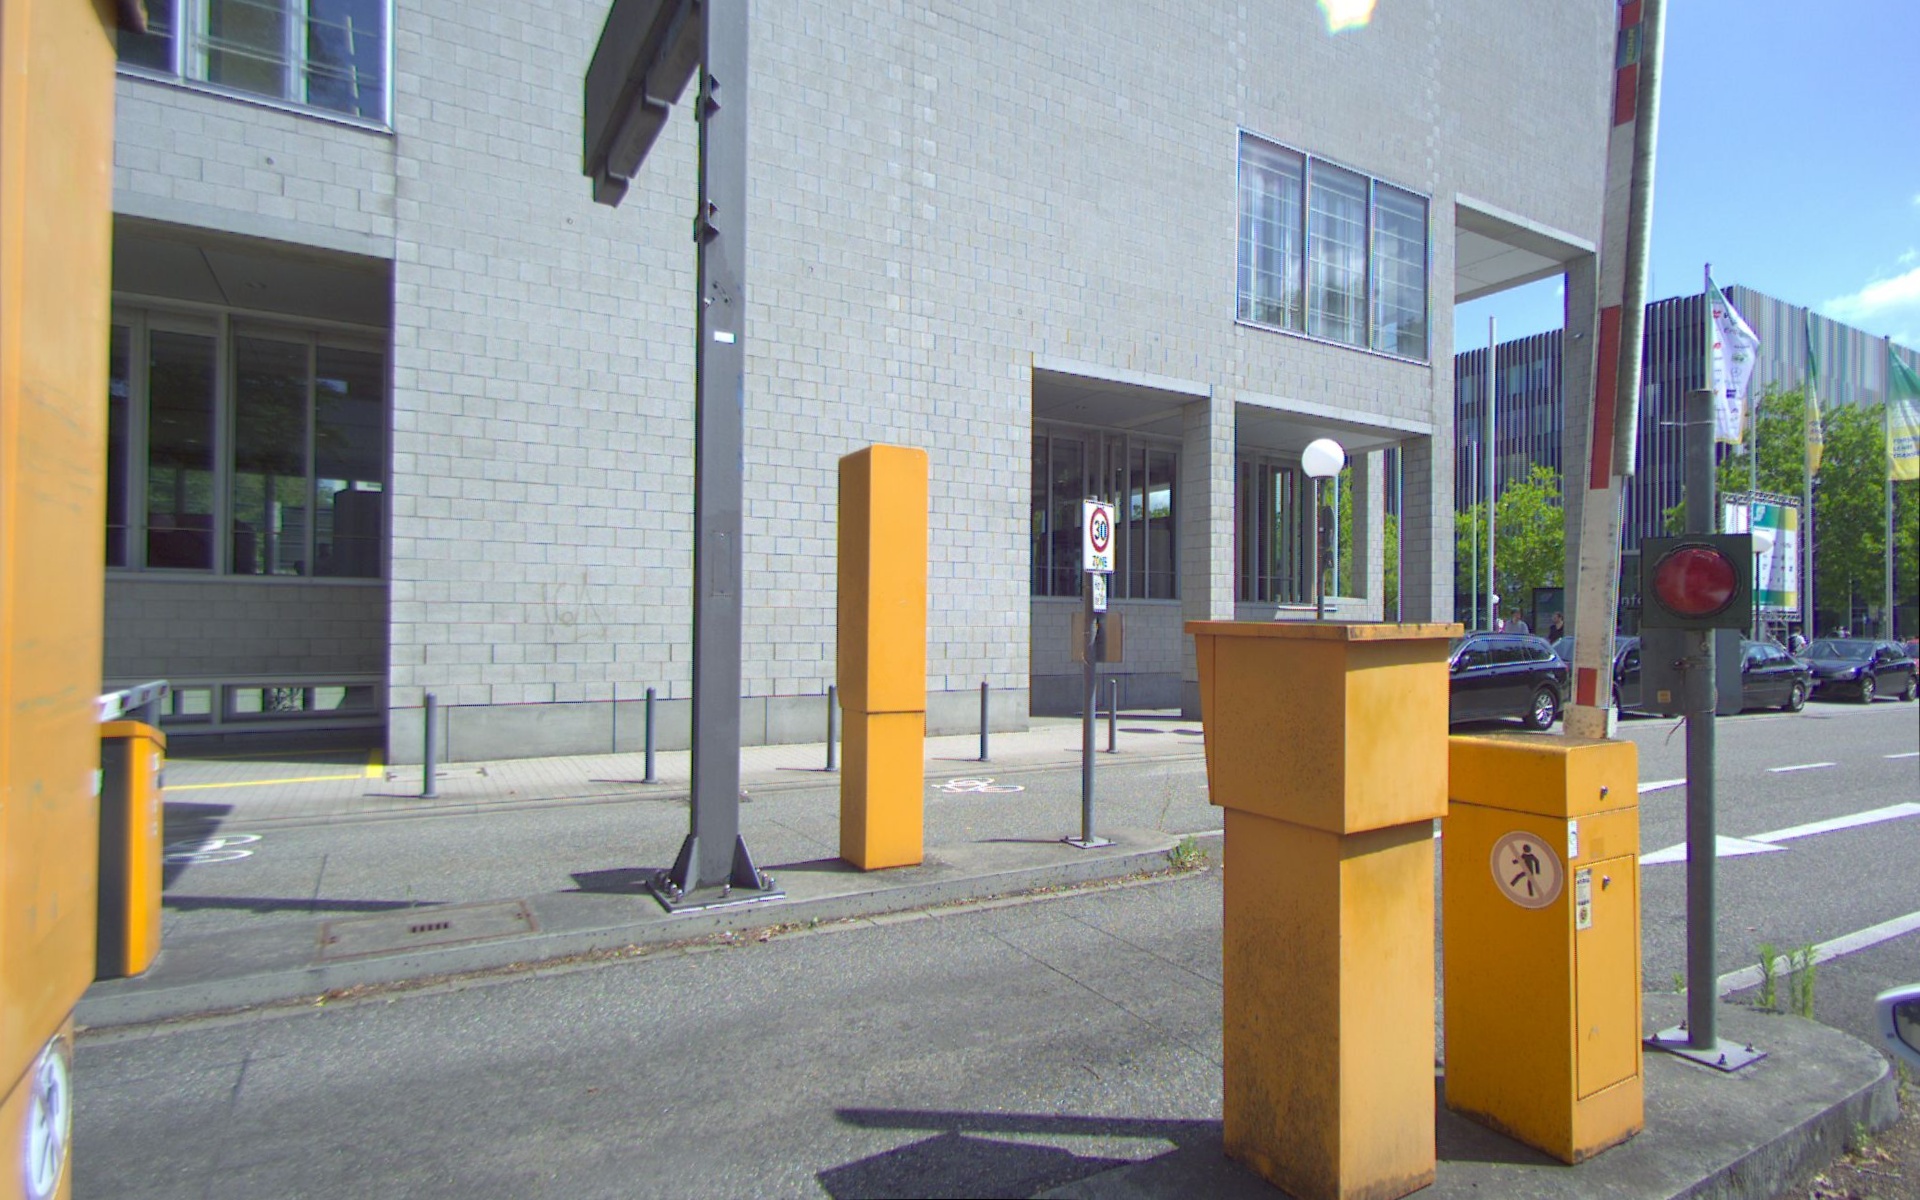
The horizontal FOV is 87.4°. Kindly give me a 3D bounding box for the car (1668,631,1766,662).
[{"bbox_3d":[43.971,2.695,58.440,1.632,1.683,4.264,0,-1,-28],"label":"car"}]

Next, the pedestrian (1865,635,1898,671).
[{"bbox_3d":[43.805,2.494,47.732,0.848,1.676,0.825,0,-1,-16],"label":"pedestrian"}]

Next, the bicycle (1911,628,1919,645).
[{"bbox_3d":[71.611,2.725,74.043,1.178,1.253,2.950,1,-1,23],"label":"bicycle"}]

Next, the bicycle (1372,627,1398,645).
[{"bbox_3d":[45.272,3.801,106.902,2.916,1.863,0.981,2,-1,-30],"label":"bicycle"}]

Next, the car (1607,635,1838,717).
[{"bbox_3d":[15.443,1.468,20.279,4.954,1.396,1.851,1,1,-29],"label":"car"}]

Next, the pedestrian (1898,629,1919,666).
[{"bbox_3d":[42.538,2.126,44.819,0.788,1.619,0.767,1,-1,-28],"label":"pedestrian"}]

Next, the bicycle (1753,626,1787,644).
[{"bbox_3d":[62.392,2.684,77.404,1.352,1.253,2.949,1,-1,24],"label":"bicycle"}]

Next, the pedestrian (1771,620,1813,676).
[{"bbox_3d":[28.801,1.642,34.761,1.074,1.875,0.717,1,0,-27],"label":"pedestrian"}]

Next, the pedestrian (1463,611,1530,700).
[{"bbox_3d":[12.667,1.296,23.723,1.153,2.040,0.978,1,-1,-34],"label":"pedestrian"}]

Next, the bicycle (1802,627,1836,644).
[{"bbox_3d":[65.158,2.656,76.236,1.178,1.253,2.949,1,-1,24],"label":"bicycle"}]

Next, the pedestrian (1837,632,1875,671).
[{"bbox_3d":[43.349,2.494,48.591,1.075,1.843,0.863,0,-1,-7],"label":"pedestrian"}]

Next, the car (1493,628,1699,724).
[{"bbox_3d":[11.478,1.303,18.092,3.663,1.487,1.630,1,1,-31],"label":"car"}]

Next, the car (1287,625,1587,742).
[{"bbox_3d":[7.368,1.180,15.392,4.664,1.487,1.850,1,1,-31],"label":"car"}]

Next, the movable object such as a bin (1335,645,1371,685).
[{"bbox_3d":[9.582,1.579,24.470,0.588,0.942,0.573,1,-1,-30],"label":"movable object such as a bin"}]

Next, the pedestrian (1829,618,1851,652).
[{"bbox_3d":[68.143,2.724,77.799,0.956,2.599,1.015,1,-1,17],"label":"pedestrian"}]

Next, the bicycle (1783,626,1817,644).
[{"bbox_3d":[63.869,2.644,76.406,1.178,1.253,2.949,1,-1,24],"label":"bicycle"}]

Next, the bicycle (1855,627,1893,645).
[{"bbox_3d":[68.416,2.677,75.224,1.178,1.253,2.950,1,-1,23],"label":"bicycle"}]

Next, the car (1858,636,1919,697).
[{"bbox_3d":[25.856,1.741,26.814,3.864,1.487,1.669,1,1,-30],"label":"car"}]

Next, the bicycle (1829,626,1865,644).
[{"bbox_3d":[66.539,2.618,75.383,1.178,1.253,2.949,1,-1,24],"label":"bicycle"}]

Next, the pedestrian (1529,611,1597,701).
[{"bbox_3d":[14.170,1.292,23.613,1.153,2.040,0.978,1,-1,-34],"label":"pedestrian"}]

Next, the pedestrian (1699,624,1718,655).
[{"bbox_3d":[64.229,3.353,86.171,1.003,2.599,0.968,1,-1,-30],"label":"pedestrian"}]

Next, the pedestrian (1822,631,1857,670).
[{"bbox_3d":[43.510,2.498,49.686,0.988,1.901,0.854,0,-1,-7],"label":"pedestrian"}]

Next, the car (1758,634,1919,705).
[{"bbox_3d":[21.224,1.625,24.134,4.145,1.487,1.740,1,1,-29],"label":"car"}]
